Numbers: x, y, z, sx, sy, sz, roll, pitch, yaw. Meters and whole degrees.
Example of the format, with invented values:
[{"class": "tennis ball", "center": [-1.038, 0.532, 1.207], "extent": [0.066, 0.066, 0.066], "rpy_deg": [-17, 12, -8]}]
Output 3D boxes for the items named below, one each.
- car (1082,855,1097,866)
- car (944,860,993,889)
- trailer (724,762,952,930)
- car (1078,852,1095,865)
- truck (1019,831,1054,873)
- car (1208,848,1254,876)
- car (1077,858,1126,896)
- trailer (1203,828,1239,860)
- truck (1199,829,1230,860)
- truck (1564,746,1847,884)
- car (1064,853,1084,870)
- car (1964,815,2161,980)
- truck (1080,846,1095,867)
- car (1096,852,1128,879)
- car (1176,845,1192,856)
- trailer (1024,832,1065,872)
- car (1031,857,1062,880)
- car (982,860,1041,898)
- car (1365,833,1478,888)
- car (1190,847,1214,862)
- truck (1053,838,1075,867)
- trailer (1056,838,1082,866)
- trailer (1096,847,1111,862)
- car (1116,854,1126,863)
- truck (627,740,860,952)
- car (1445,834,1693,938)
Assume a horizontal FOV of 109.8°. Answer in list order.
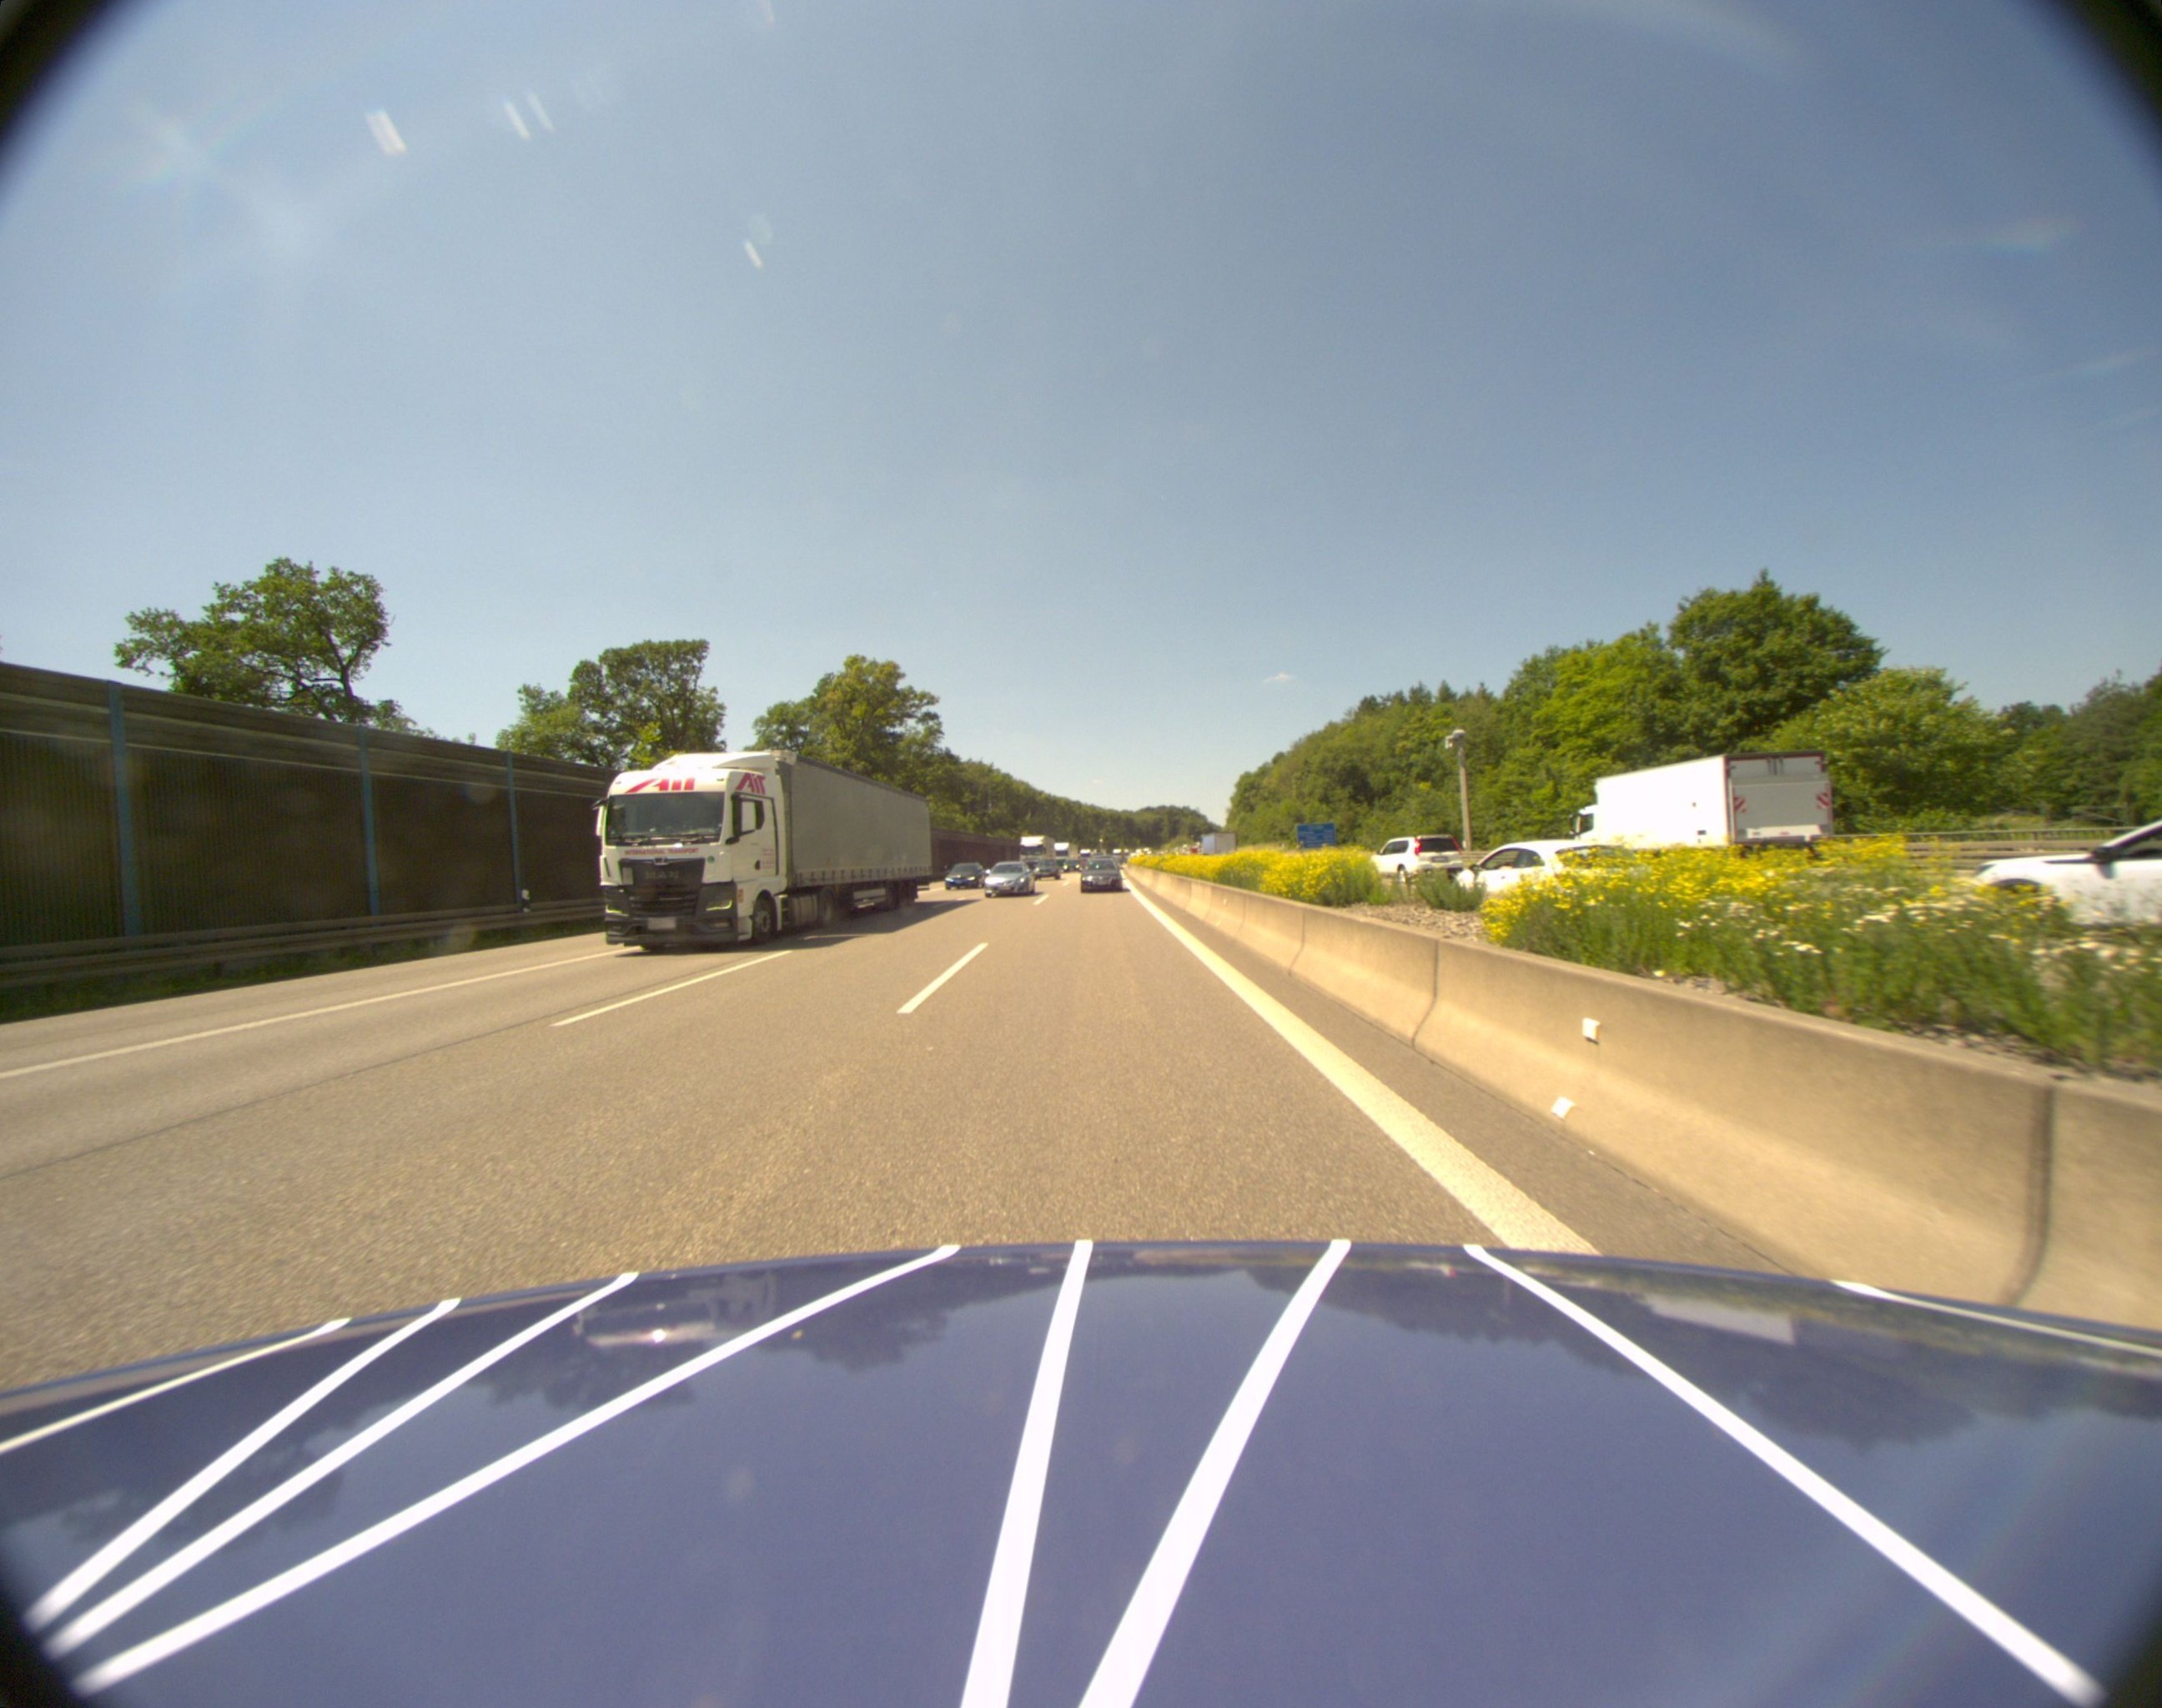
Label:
[{"class": "car", "center": [1.386, 0.973, 122.410], "extent": [1.998, 1.641, 4.001], "rpy_deg": [-2, 0, 4]}, {"class": "car", "center": [-6.360, 1.138, 43.371], "extent": [1.860, 1.484, 4.177], "rpy_deg": [-3, 0, 3]}, {"class": "trailer", "center": [-7.158, -0.253, 25.555], "extent": [2.604, 4.067, 13.592], "rpy_deg": [-2, 1, 2]}, {"class": "car", "center": [0.736, 0.624, 102.361], "extent": [1.998, 1.641, 4.001], "rpy_deg": [-2, 0, 4]}, {"class": "truck", "center": [-4.719, -0.225, 81.675], "extent": [2.811, 4.190, 5.423], "rpy_deg": [-3, 0, 5]}, {"class": "car", "center": [8.291, 0.401, 42.287], "extent": [1.810, 1.411, 4.077], "rpy_deg": [-3, 0, 2]}, {"class": "car", "center": [0.869, 0.908, 32.165], "extent": [1.907, 1.410, 4.000], "rpy_deg": [-3, 0, 2]}, {"class": "trailer", "center": [17.776, -1.215, 97.239], "extent": [2.787, 3.834, 10.171], "rpy_deg": [-2, 0, 1]}, {"class": "truck", "center": [17.839, -1.247, 102.224], "extent": [2.755, 3.834, 8.413], "rpy_deg": [-2, 0, 1]}, {"class": "truck", "center": [18.518, -1.018, 23.356], "extent": [2.742, 3.454, 7.315], "rpy_deg": [-2, 0, 2]}, {"class": "car", "center": [-0.751, 0.804, 83.929], "extent": [1.998, 1.641, 4.000], "rpy_deg": [-2, 0, 2]}, {"class": "car", "center": [10.928, 0.378, 6.632], "extent": [1.847, 1.537, 4.000], "rpy_deg": [-2, 0, 2]}, {"class": "truck", "center": [1.447, 0.554, 171.423], "extent": [2.853, 4.382, 5.241], "rpy_deg": [-3, 0, 5]}, {"class": "car", "center": [2.115, 0.754, 51.010], "extent": [1.998, 1.641, 4.000], "rpy_deg": [-2, 1, 3]}, {"class": "car", "center": [16.537, -0.551, 122.674], "extent": [1.998, 1.552, 4.639], "rpy_deg": [-3, 0, 1]}, {"class": "trailer", "center": [-4.128, -0.232, 88.608], "extent": [2.820, 4.190, 13.469], "rpy_deg": [-3, 0, 5]}, {"class": "car", "center": [-2.472, 1.020, 55.355], "extent": [1.907, 1.550, 4.000], "rpy_deg": [-3, 0, 2]}, {"class": "car", "center": [-2.903, 1.020, 32.401], "extent": [1.860, 1.426, 4.177], "rpy_deg": [-3, 0, 3]}, {"class": "car", "center": [11.768, 0.193, 26.613], "extent": [1.998, 1.691, 4.530], "rpy_deg": [-3, 0, 2]}, {"class": "car", "center": [13.595, 0.060, 85.631], "extent": [2.142, 1.521, 4.799], "rpy_deg": [-2, 0, 2]}, {"class": "truck", "center": [-2.514, -0.240, 115.866], "extent": [2.544, 4.149, 4.747], "rpy_deg": [-3, 0, 7]}, {"class": "trailer", "center": [-1.879, -0.354, 120.981], "extent": [2.541, 4.149, 10.181], "rpy_deg": [-3, 0, 7]}, {"class": "trailer", "center": [6.070, 0.134, 205.740], "extent": [3.154, 4.061, 6.186], "rpy_deg": [-3, 0, 8]}, {"class": "car", "center": [8.361, 0.915, 160.048], "extent": [1.998, 1.641, 4.001], "rpy_deg": [-2, 0, 4]}, {"class": "truck", "center": [-7.455, -0.177, 17.733], "extent": [2.604, 4.067, 5.553], "rpy_deg": [-2, 1, 2]}, {"class": "car", "center": [7.817, 0.438, 12.693], "extent": [1.636, 1.419, 4.036], "rpy_deg": [-2, 0, 2]}]
